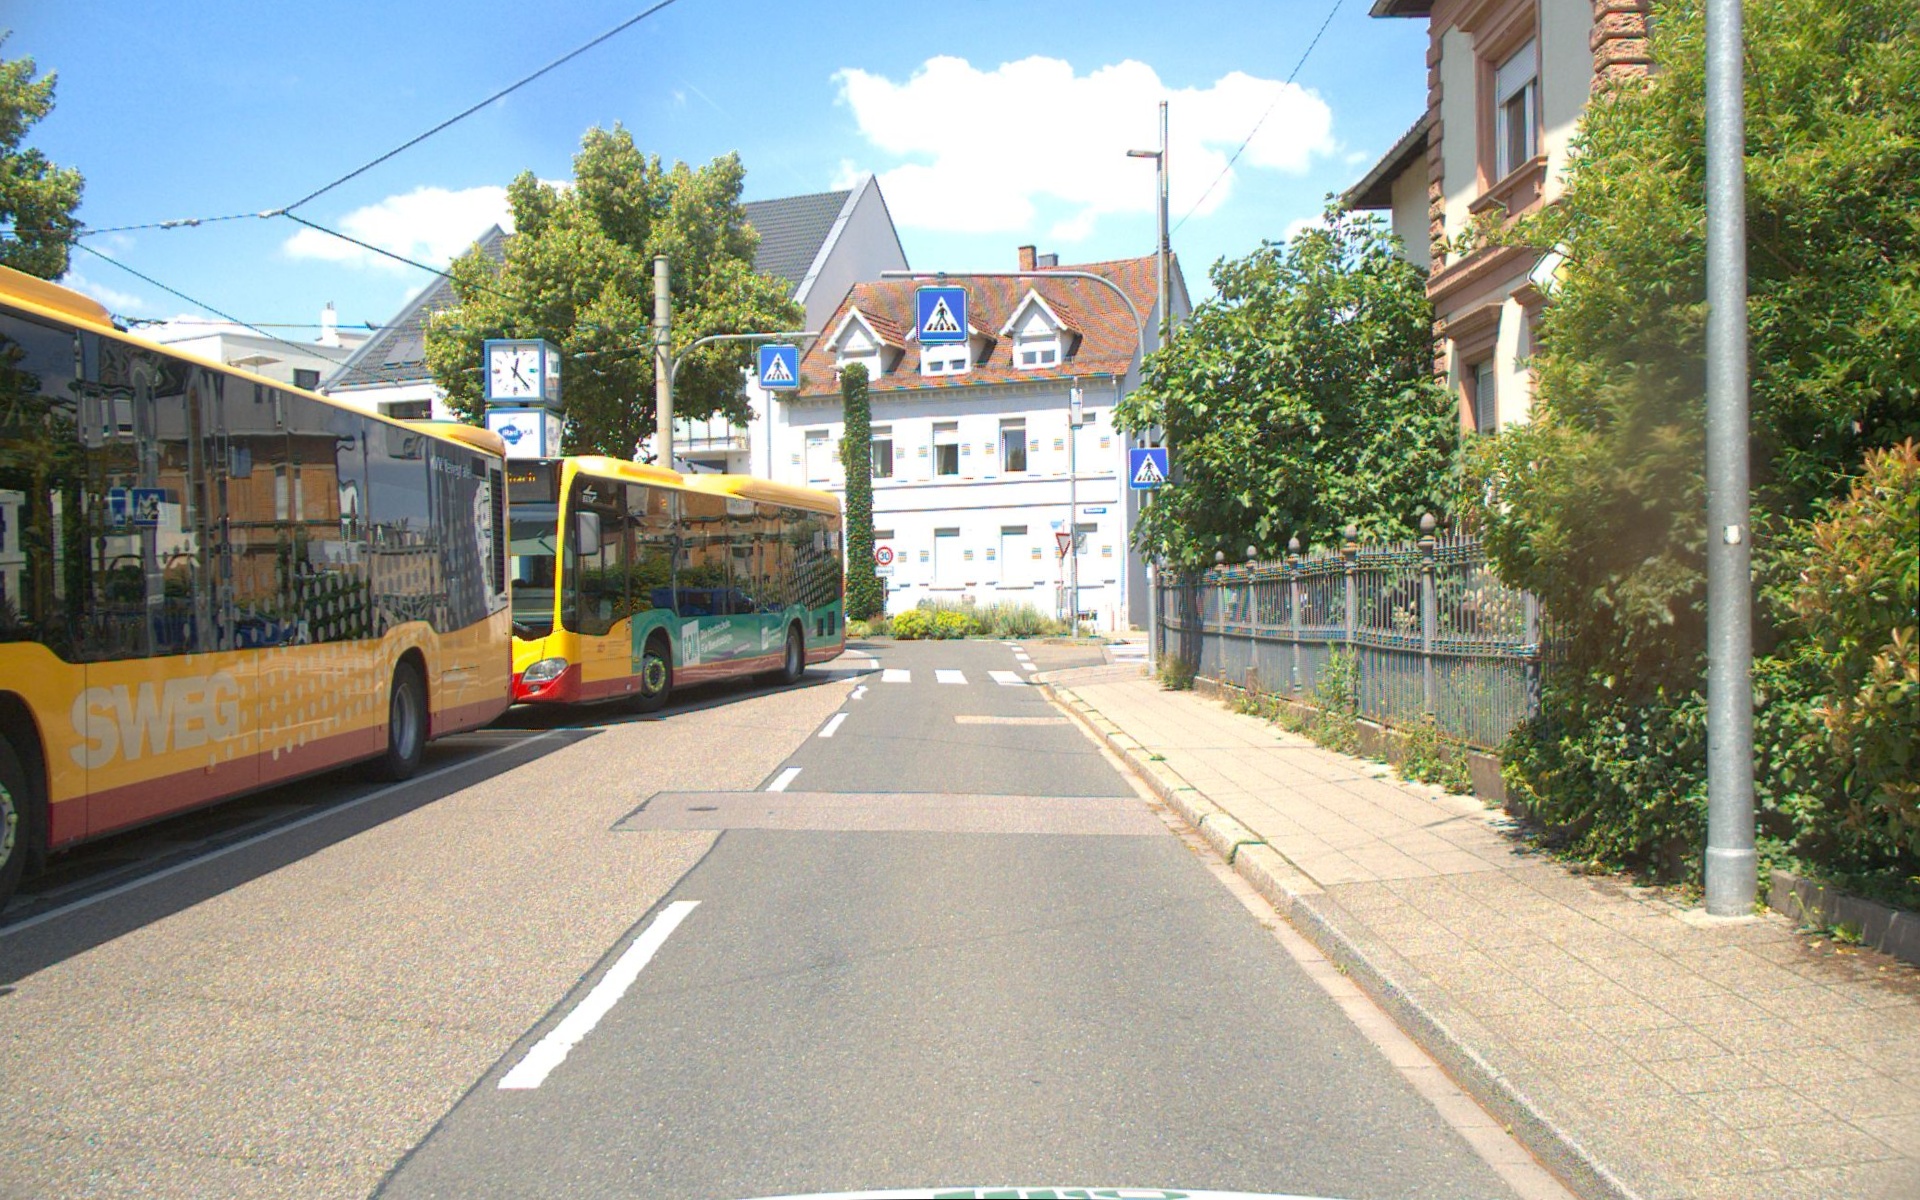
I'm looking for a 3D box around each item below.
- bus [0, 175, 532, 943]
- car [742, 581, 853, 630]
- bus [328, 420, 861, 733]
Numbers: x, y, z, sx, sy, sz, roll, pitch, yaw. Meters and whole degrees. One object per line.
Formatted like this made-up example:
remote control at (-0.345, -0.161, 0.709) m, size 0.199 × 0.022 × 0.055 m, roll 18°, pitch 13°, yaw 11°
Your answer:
bus at (-5.617, -0.160, 10.381) m, size 2.848 × 3.305 × 12.115 m, roll 1°, pitch -1°, yaw -1°
car at (-5.607, 0.199, 56.889) m, size 3.539 × 1.614 × 1.581 m, roll 0°, pitch -2°, yaw 31°
bus at (-4.266, -0.317, 23.525) m, size 2.720 × 3.264 × 12.317 m, roll 1°, pitch 1°, yaw 11°
